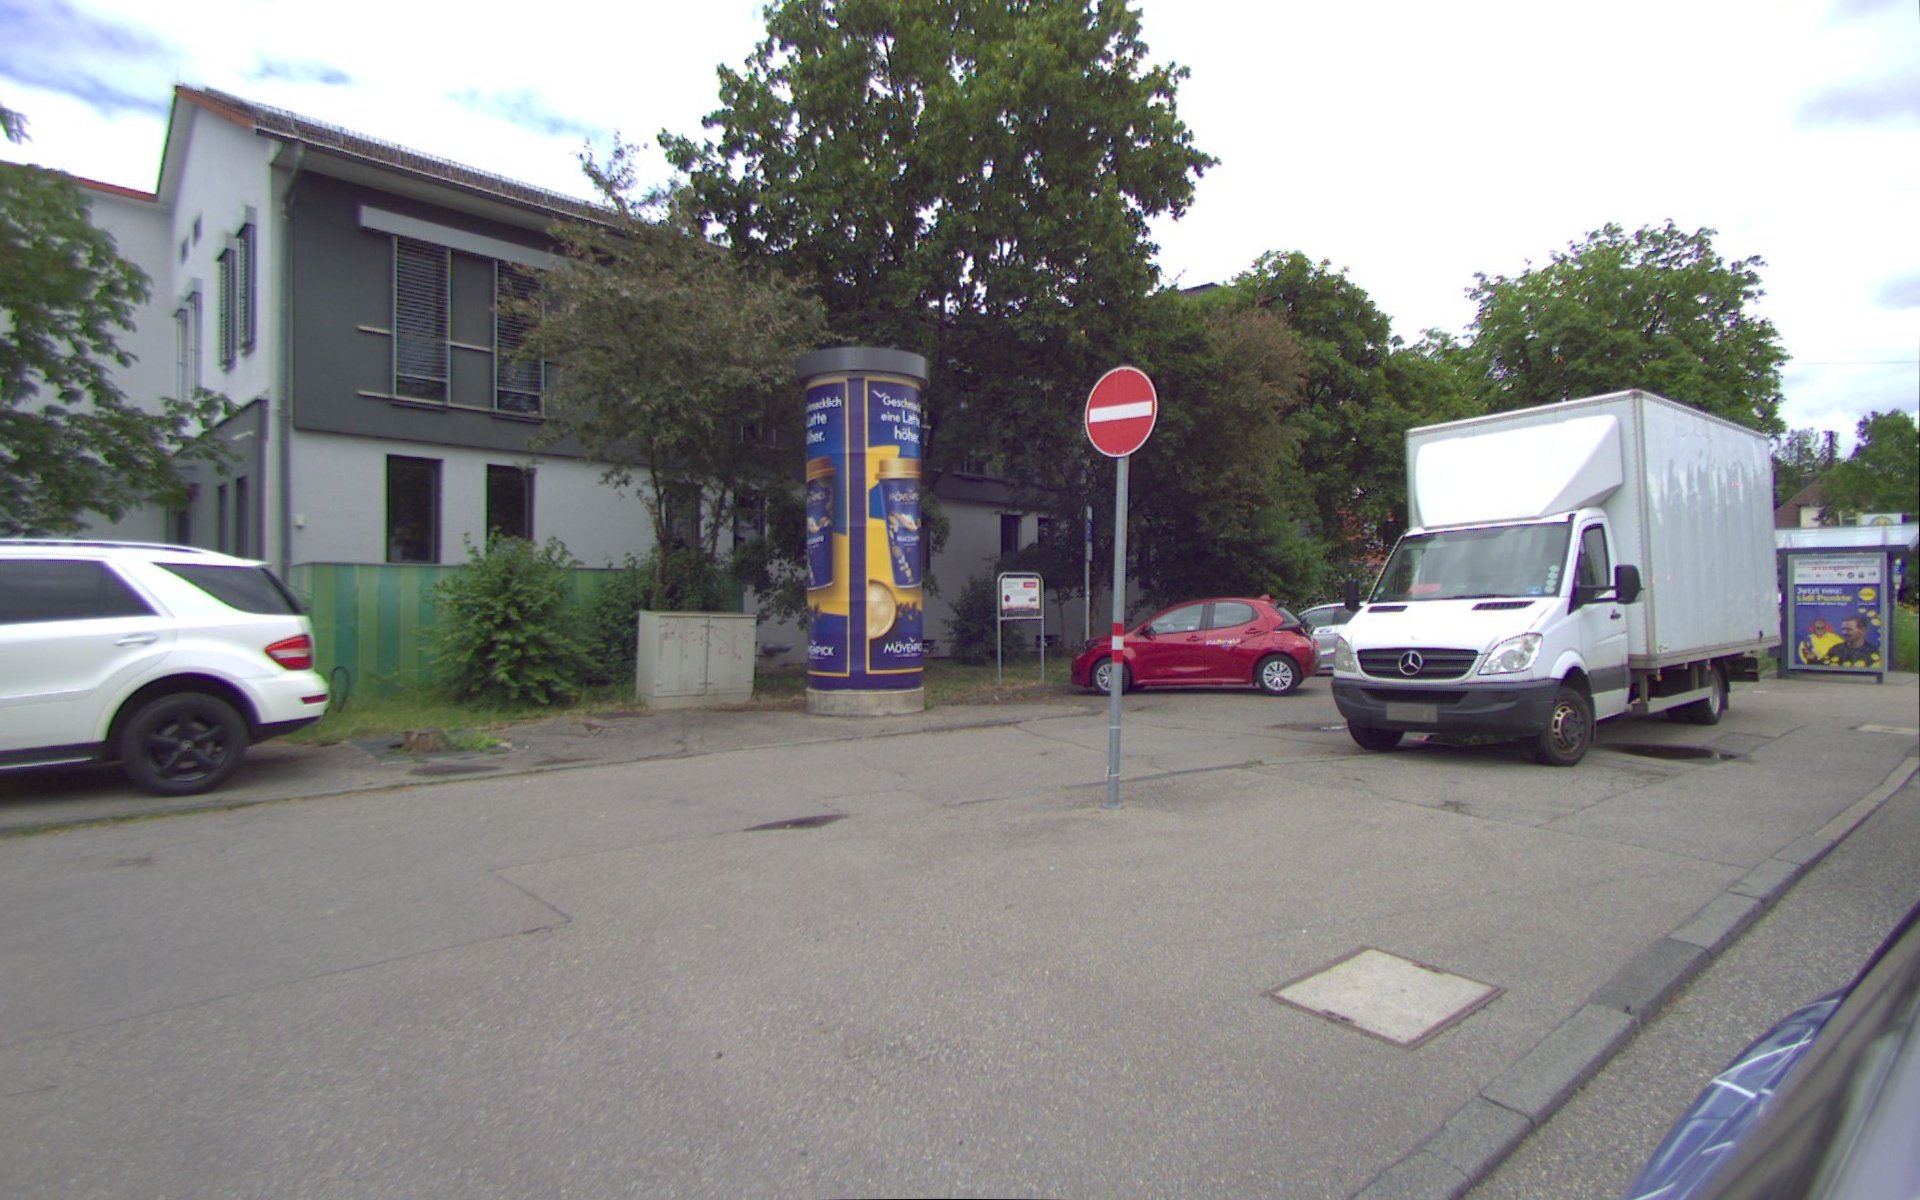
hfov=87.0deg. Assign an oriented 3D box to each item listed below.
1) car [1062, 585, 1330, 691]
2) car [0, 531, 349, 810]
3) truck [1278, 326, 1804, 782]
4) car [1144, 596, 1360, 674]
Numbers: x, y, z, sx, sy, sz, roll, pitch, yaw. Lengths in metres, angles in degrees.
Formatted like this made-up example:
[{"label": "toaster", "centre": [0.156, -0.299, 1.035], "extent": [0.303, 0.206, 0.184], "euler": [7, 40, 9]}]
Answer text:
[{"label": "car", "centre": [3.722, 0.604, 15.997], "extent": [3.856, 1.502, 1.669], "euler": [-2, -1, 25]}, {"label": "car", "centre": [-7.014, 0.451, 6.914], "extent": [4.640, 1.780, 1.855], "euler": [0, 0, -41]}, {"label": "truck", "centre": [6.779, -0.413, 11.144], "extent": [7.638, 3.469, 2.540], "euler": [-1, 0, -40]}, {"label": "car", "centre": [5.790, 0.698, 20.245], "extent": [3.946, 1.428, 1.516], "euler": [-2, -1, 18]}]
